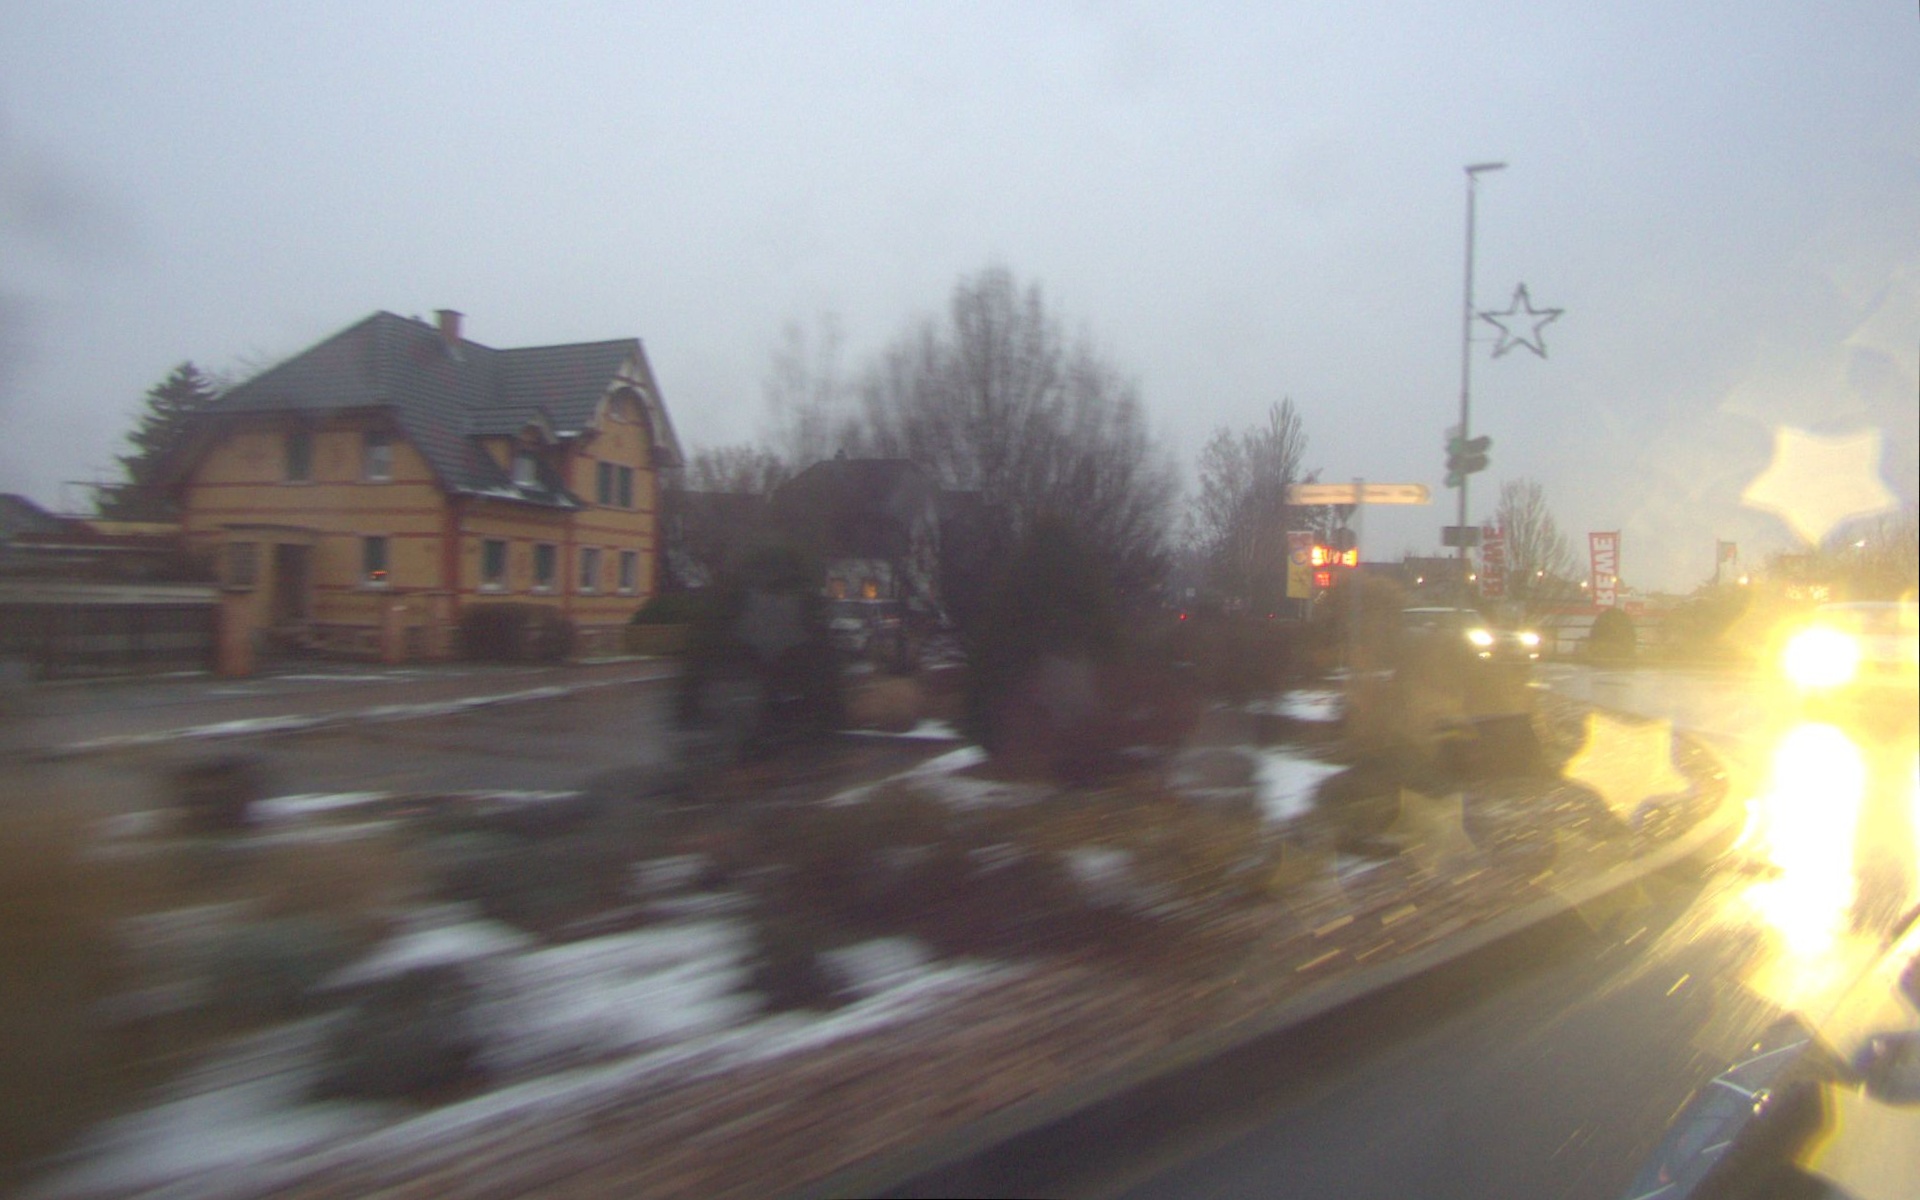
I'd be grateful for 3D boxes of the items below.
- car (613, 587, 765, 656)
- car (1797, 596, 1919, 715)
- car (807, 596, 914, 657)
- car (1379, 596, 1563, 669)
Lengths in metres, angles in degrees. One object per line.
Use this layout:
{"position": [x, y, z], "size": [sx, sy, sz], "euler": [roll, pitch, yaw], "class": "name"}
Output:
{"position": [-8.481, 0.581, 32.258], "size": [2.334, 1.888, 5.307], "euler": [2, 1, 15], "class": "car"}
{"position": [13.492, 0.697, 14.436], "size": [4.174, 1.479, 1.807], "euler": [-1, 0, -42], "class": "car"}
{"position": [-3.355, 0.893, 35.279], "size": [1.912, 1.943, 5.219], "euler": [-1, -1, 16], "class": "car"}
{"position": [11.461, 0.713, 23.002], "size": [1.628, 1.511, 3.718], "euler": [0, -1, -15], "class": "car"}
